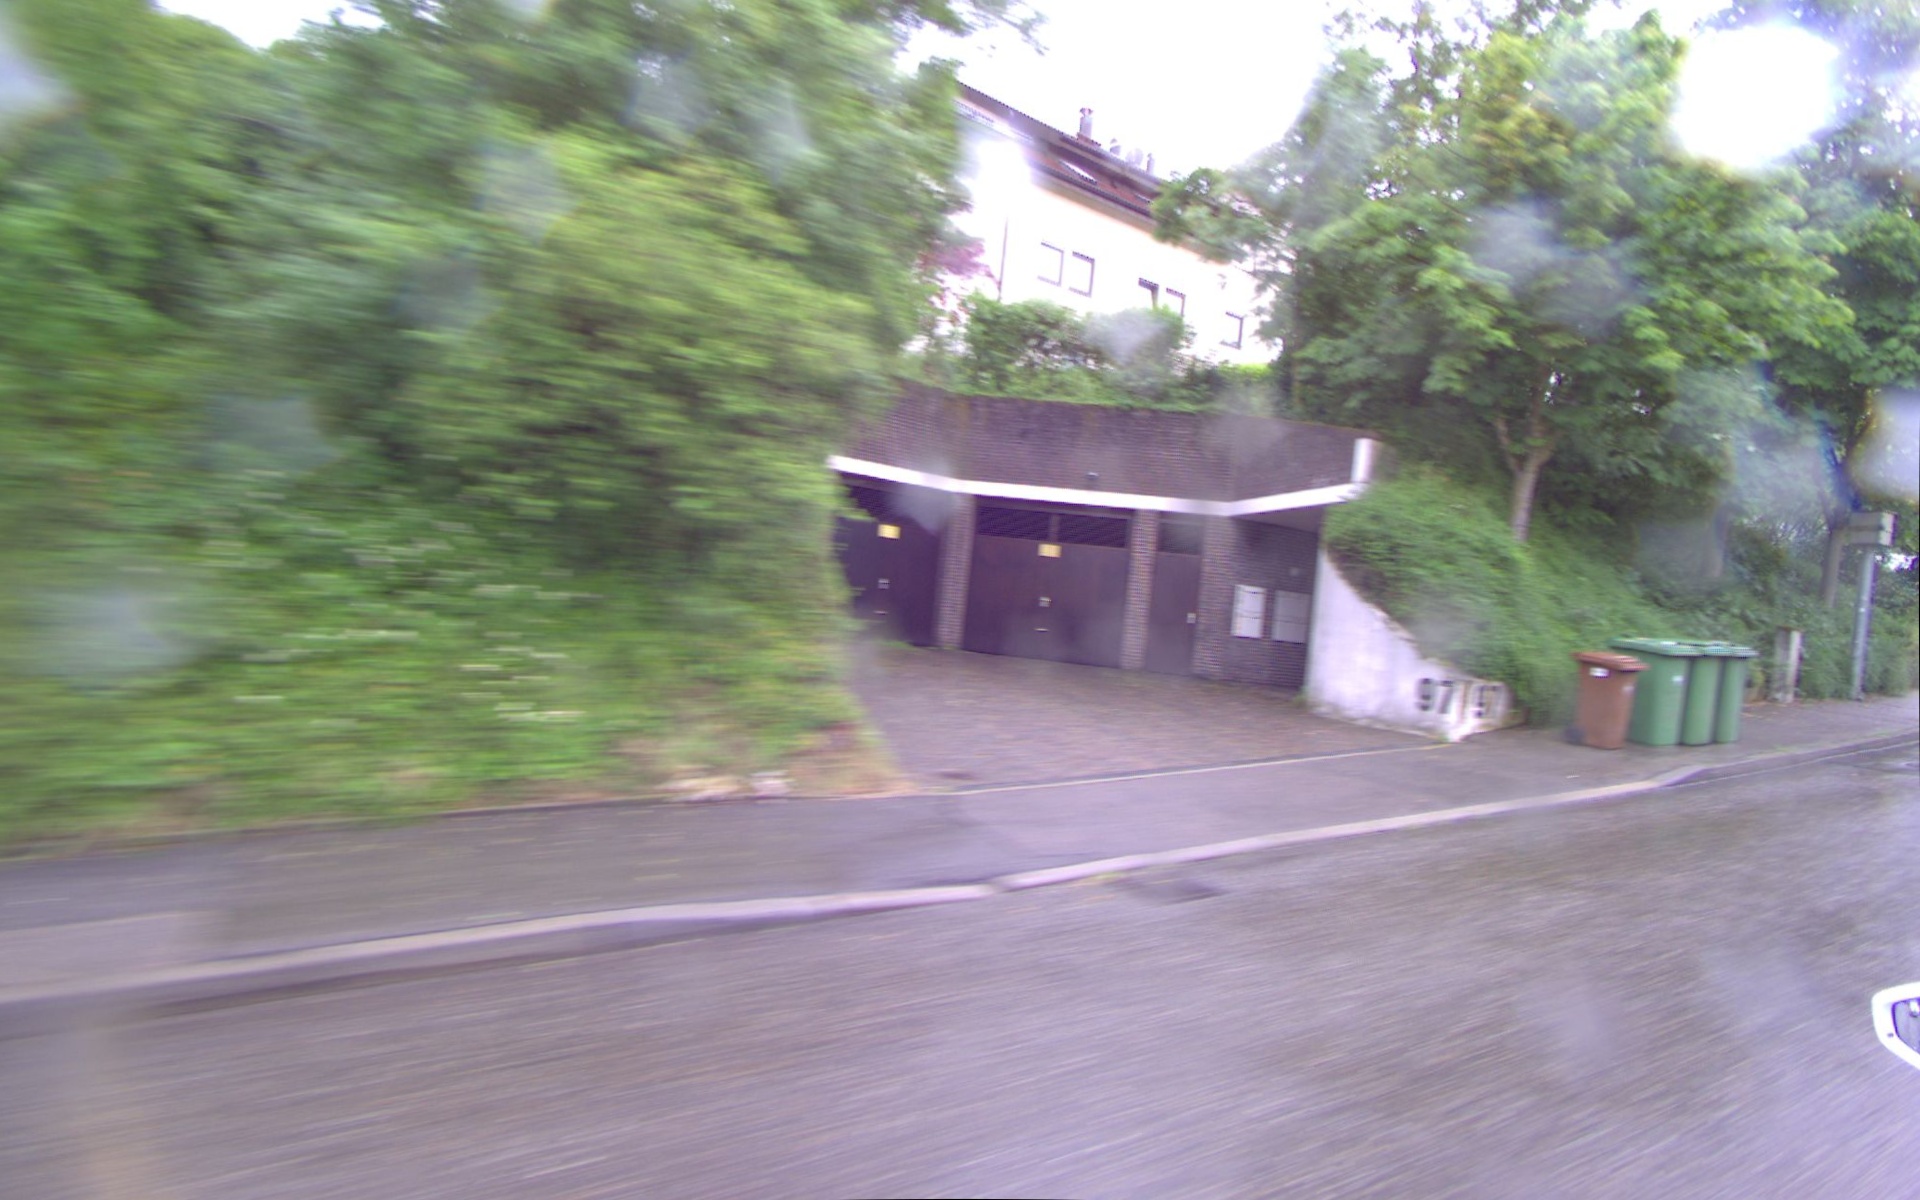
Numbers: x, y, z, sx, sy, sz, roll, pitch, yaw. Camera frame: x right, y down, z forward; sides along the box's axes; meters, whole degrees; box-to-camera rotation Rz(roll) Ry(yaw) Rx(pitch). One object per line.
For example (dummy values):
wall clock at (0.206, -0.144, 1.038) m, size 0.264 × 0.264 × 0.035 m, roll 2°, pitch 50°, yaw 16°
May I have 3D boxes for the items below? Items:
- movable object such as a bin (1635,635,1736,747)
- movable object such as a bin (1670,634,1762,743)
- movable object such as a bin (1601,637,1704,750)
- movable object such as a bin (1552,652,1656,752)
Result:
movable object such as a bin at (7.812, 0.956, 10.820) m, size 0.666 × 1.119 × 0.644 m, roll 1°, pitch 1°, yaw -32°
movable object such as a bin at (8.338, 0.957, 11.090) m, size 0.499 × 1.130 × 0.644 m, roll 1°, pitch 1°, yaw -32°
movable object such as a bin at (7.207, 0.950, 10.464) m, size 0.666 × 1.095 × 0.644 m, roll 1°, pitch 1°, yaw -32°
movable object such as a bin at (6.501, 1.007, 10.145) m, size 0.666 × 0.923 × 0.644 m, roll 2°, pitch 1°, yaw -32°
